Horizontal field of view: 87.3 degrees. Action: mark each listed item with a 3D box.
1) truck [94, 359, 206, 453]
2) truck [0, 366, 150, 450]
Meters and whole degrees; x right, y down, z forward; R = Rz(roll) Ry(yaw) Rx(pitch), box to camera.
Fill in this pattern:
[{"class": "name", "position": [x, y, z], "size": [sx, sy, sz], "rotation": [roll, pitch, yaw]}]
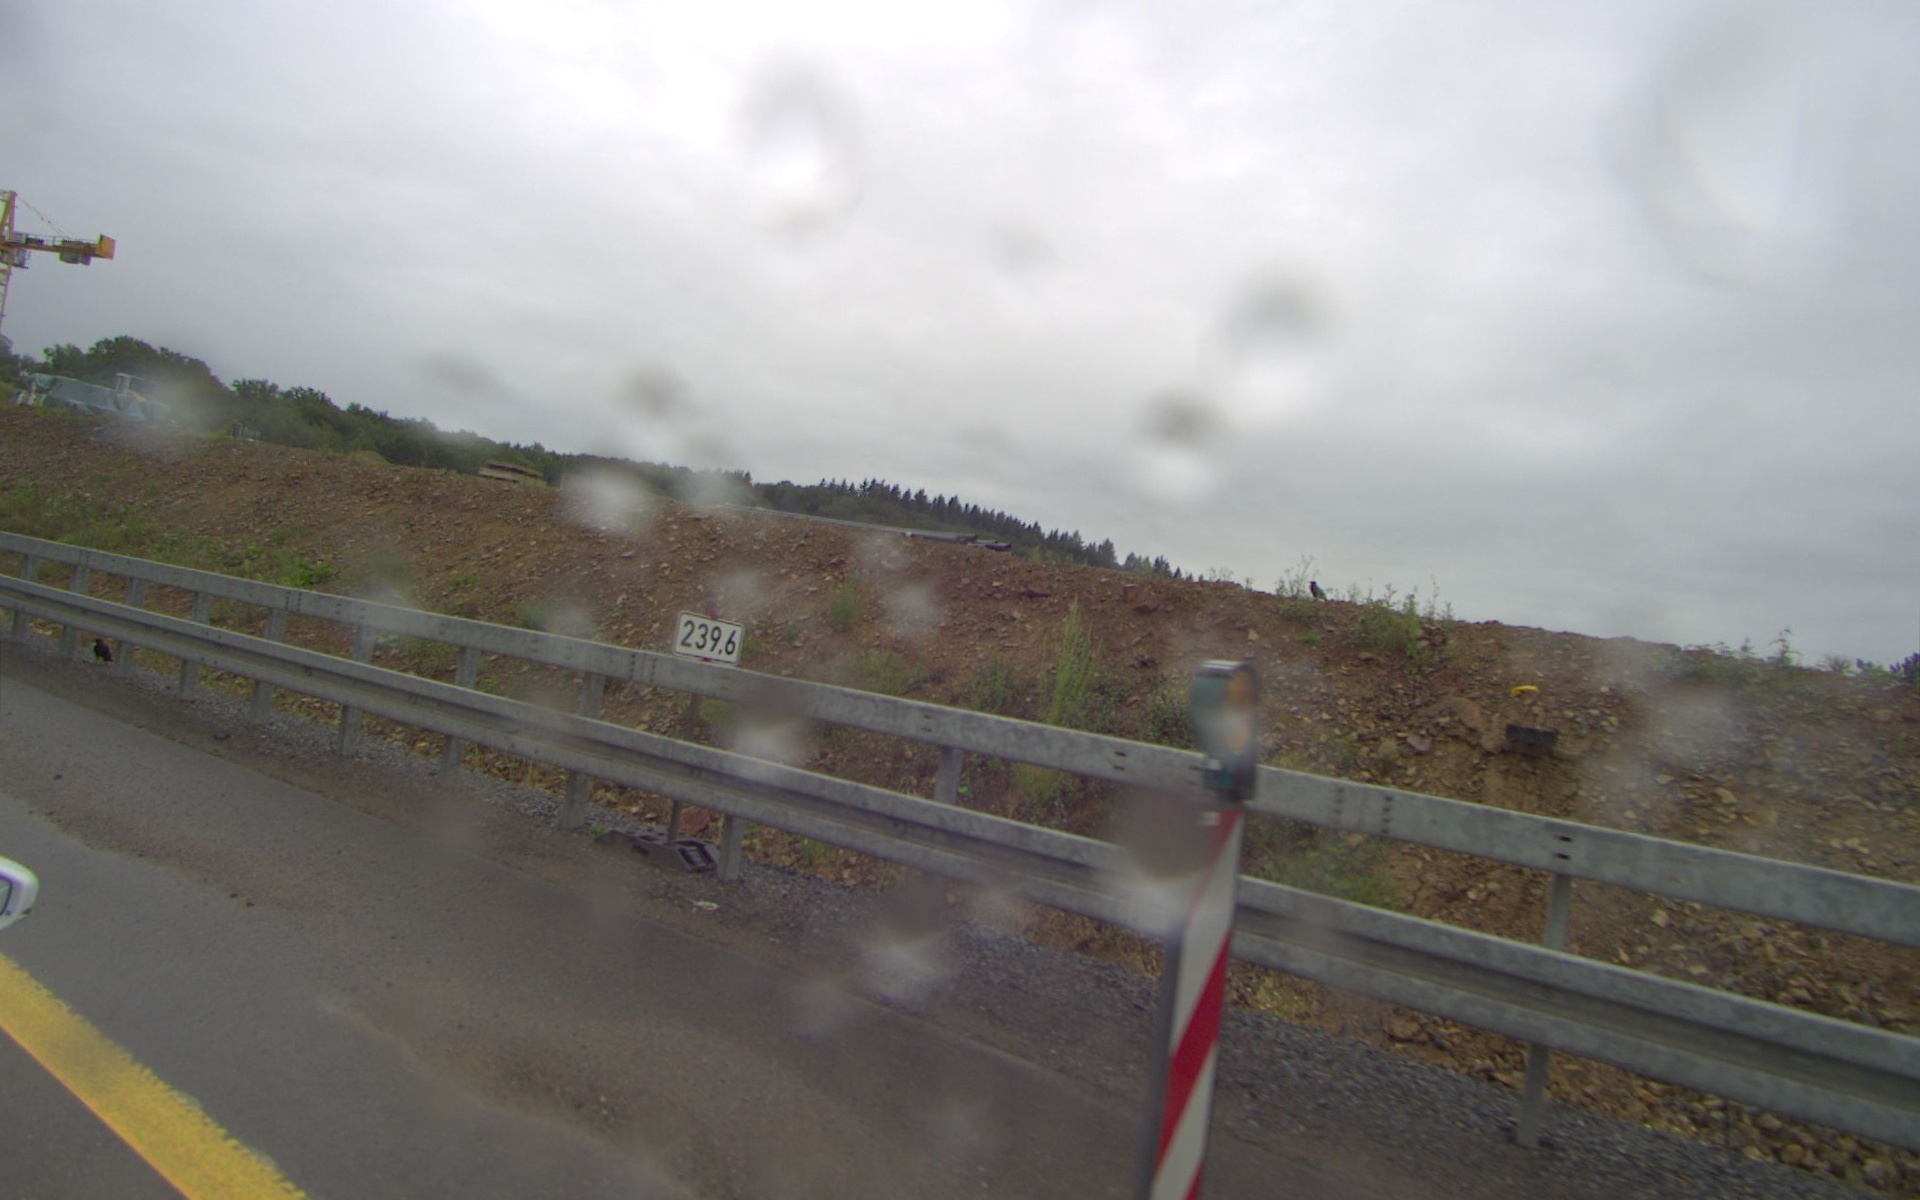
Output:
[{"class": "truck", "position": [-43.201, -10.329, 53.619], "size": [5.878, 4.268, 2.378], "rotation": [7, -1, 30]}, {"class": "truck", "position": [-42.189, -8.988, 47.414], "size": [8.813, 2.909, 3.401], "rotation": [7, -1, 33]}]
